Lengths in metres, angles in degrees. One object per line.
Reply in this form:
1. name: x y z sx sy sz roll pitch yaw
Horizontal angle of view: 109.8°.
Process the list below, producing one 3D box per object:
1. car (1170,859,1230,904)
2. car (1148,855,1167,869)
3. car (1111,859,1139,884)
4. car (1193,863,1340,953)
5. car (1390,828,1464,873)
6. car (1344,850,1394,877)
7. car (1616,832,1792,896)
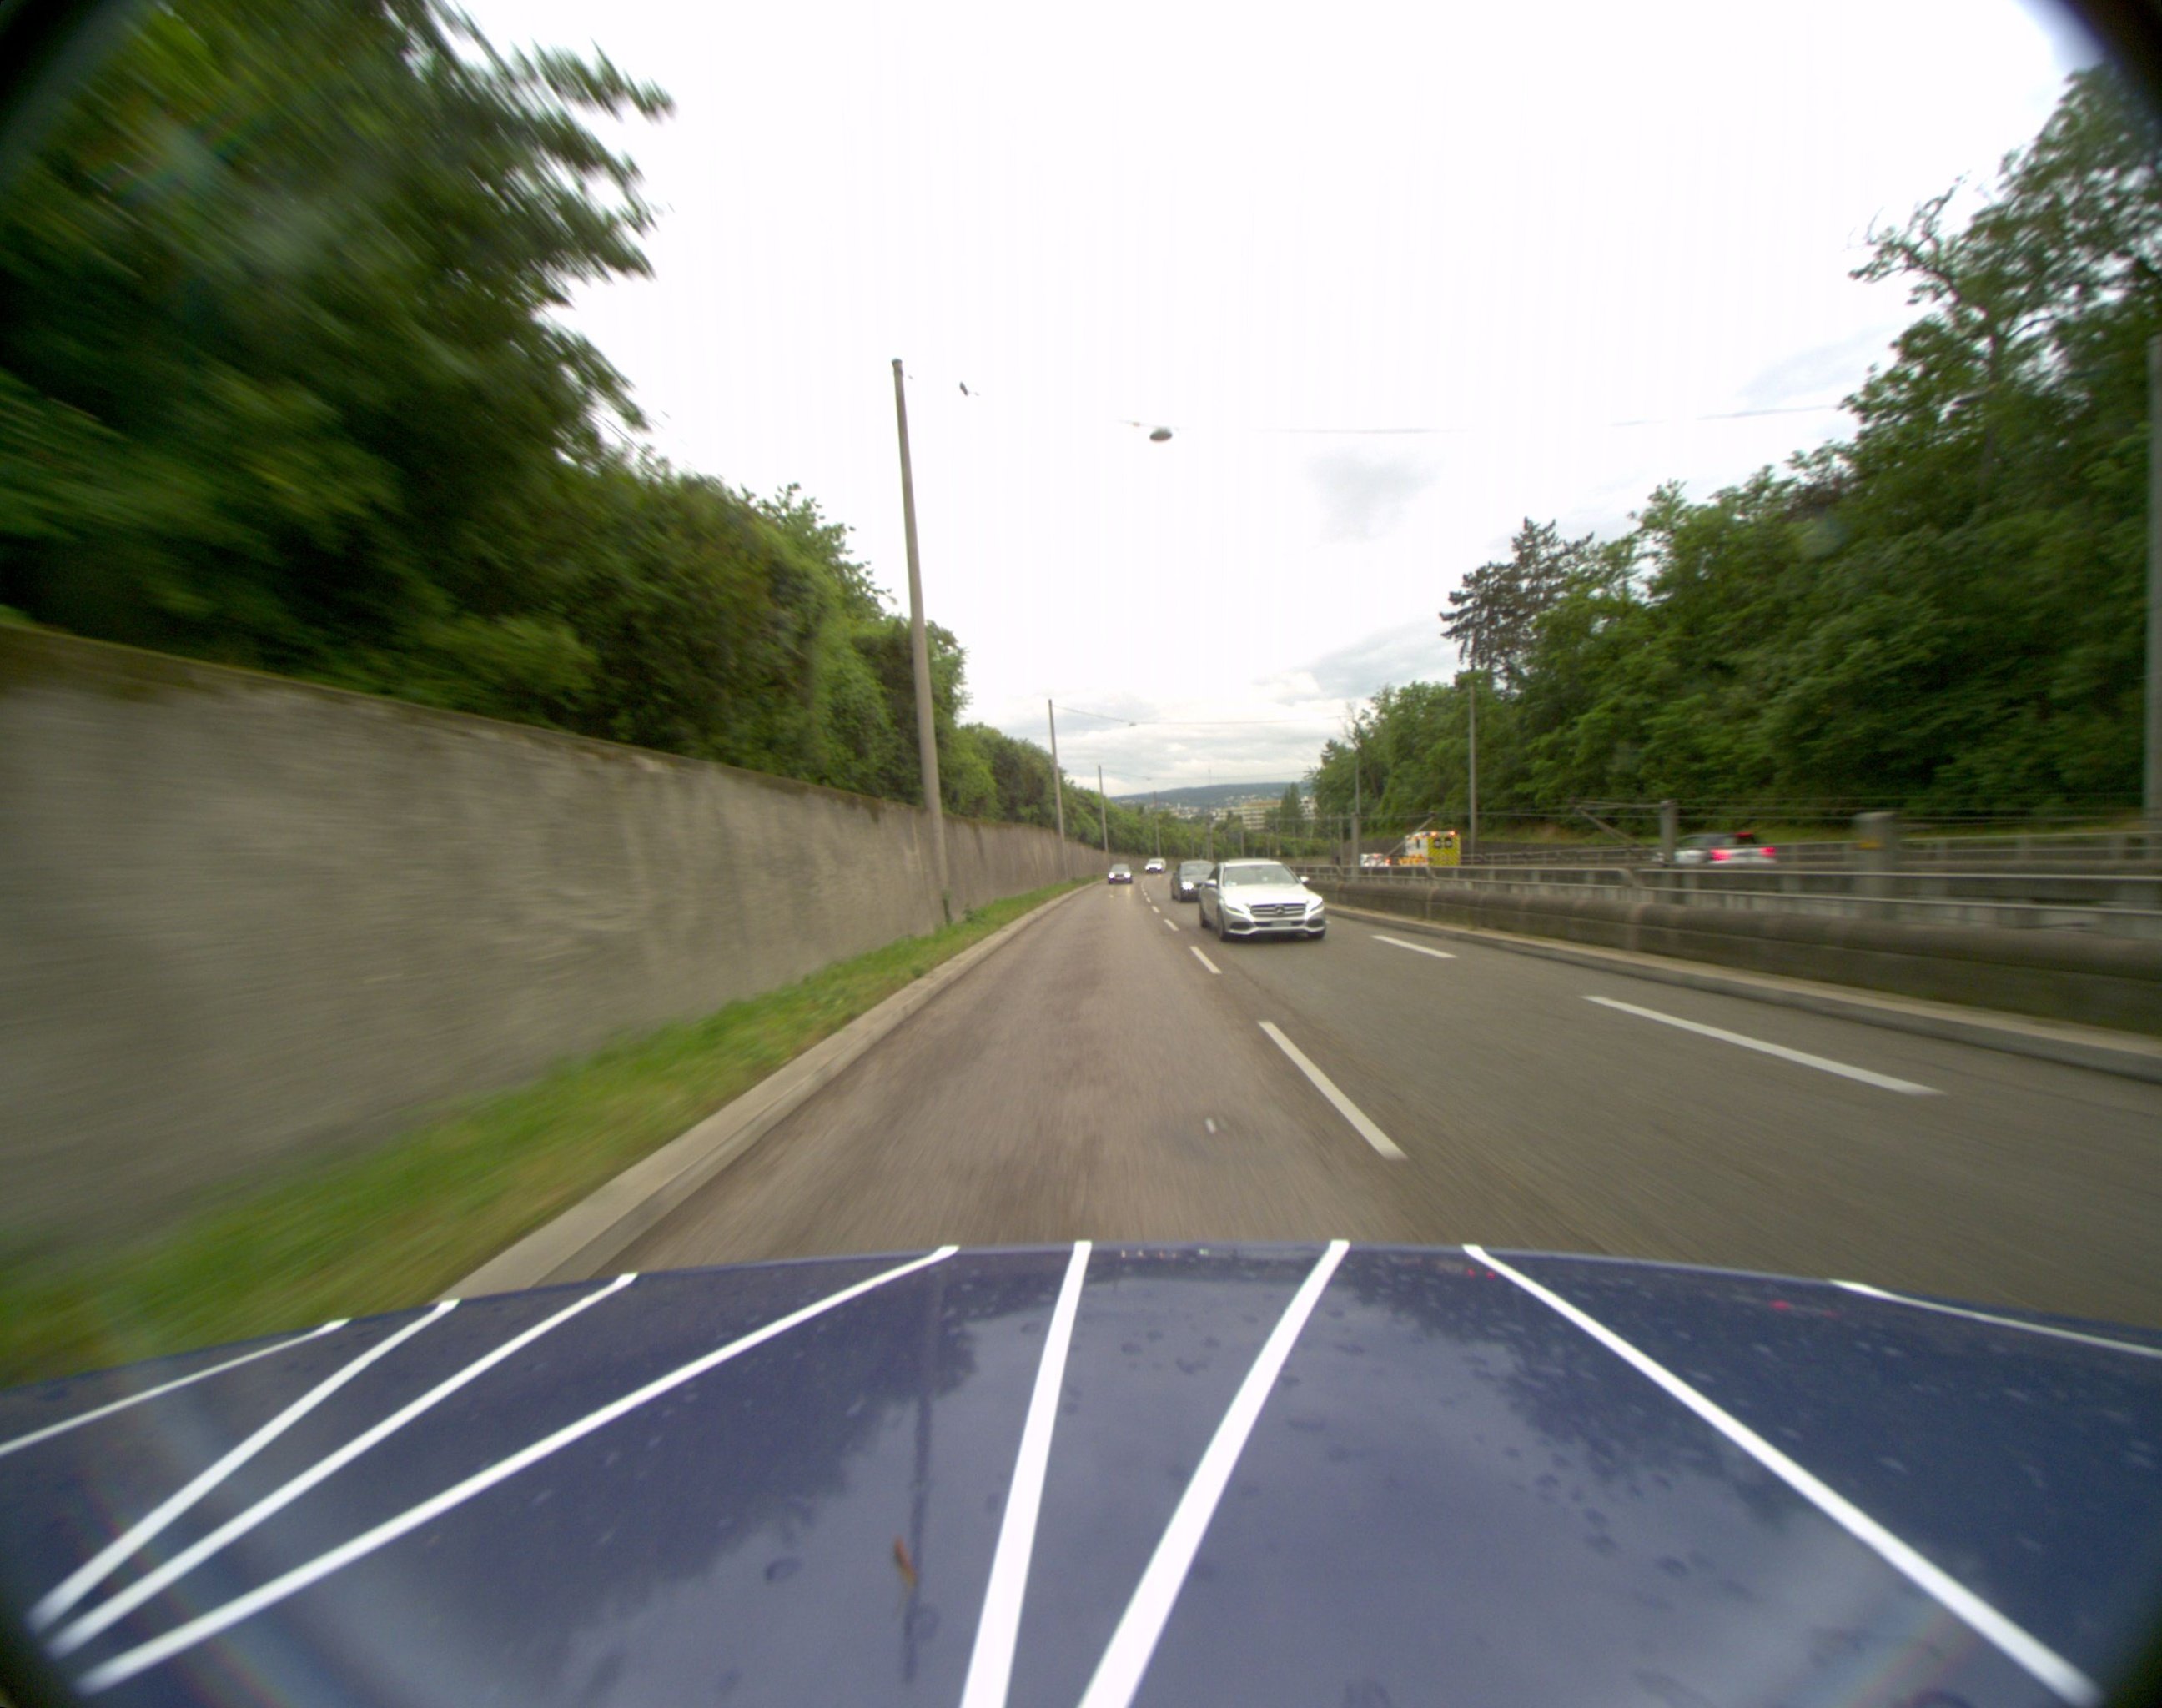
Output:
1. car: 4.293 0.949 27.963 1.729 1.462 3.888 -2 0 2
2. car: 9.916 0.982 97.884 1.808 1.501 4.002 -4 2 13
3. car: 3.208 1.216 55.367 1.809 1.501 4.000 -4 1 3
4. car: 3.362 0.913 14.642 1.861 1.394 4.315 -2 0 2
5. car: 22.621 -0.231 49.971 2.187 2.718 6.345 -1 0 3
6. car: 19.573 0.611 51.757 1.822 1.694 4.110 -1 0 0
7. car: 18.601 0.258 22.975 1.966 1.740 4.141 -1 0 0
